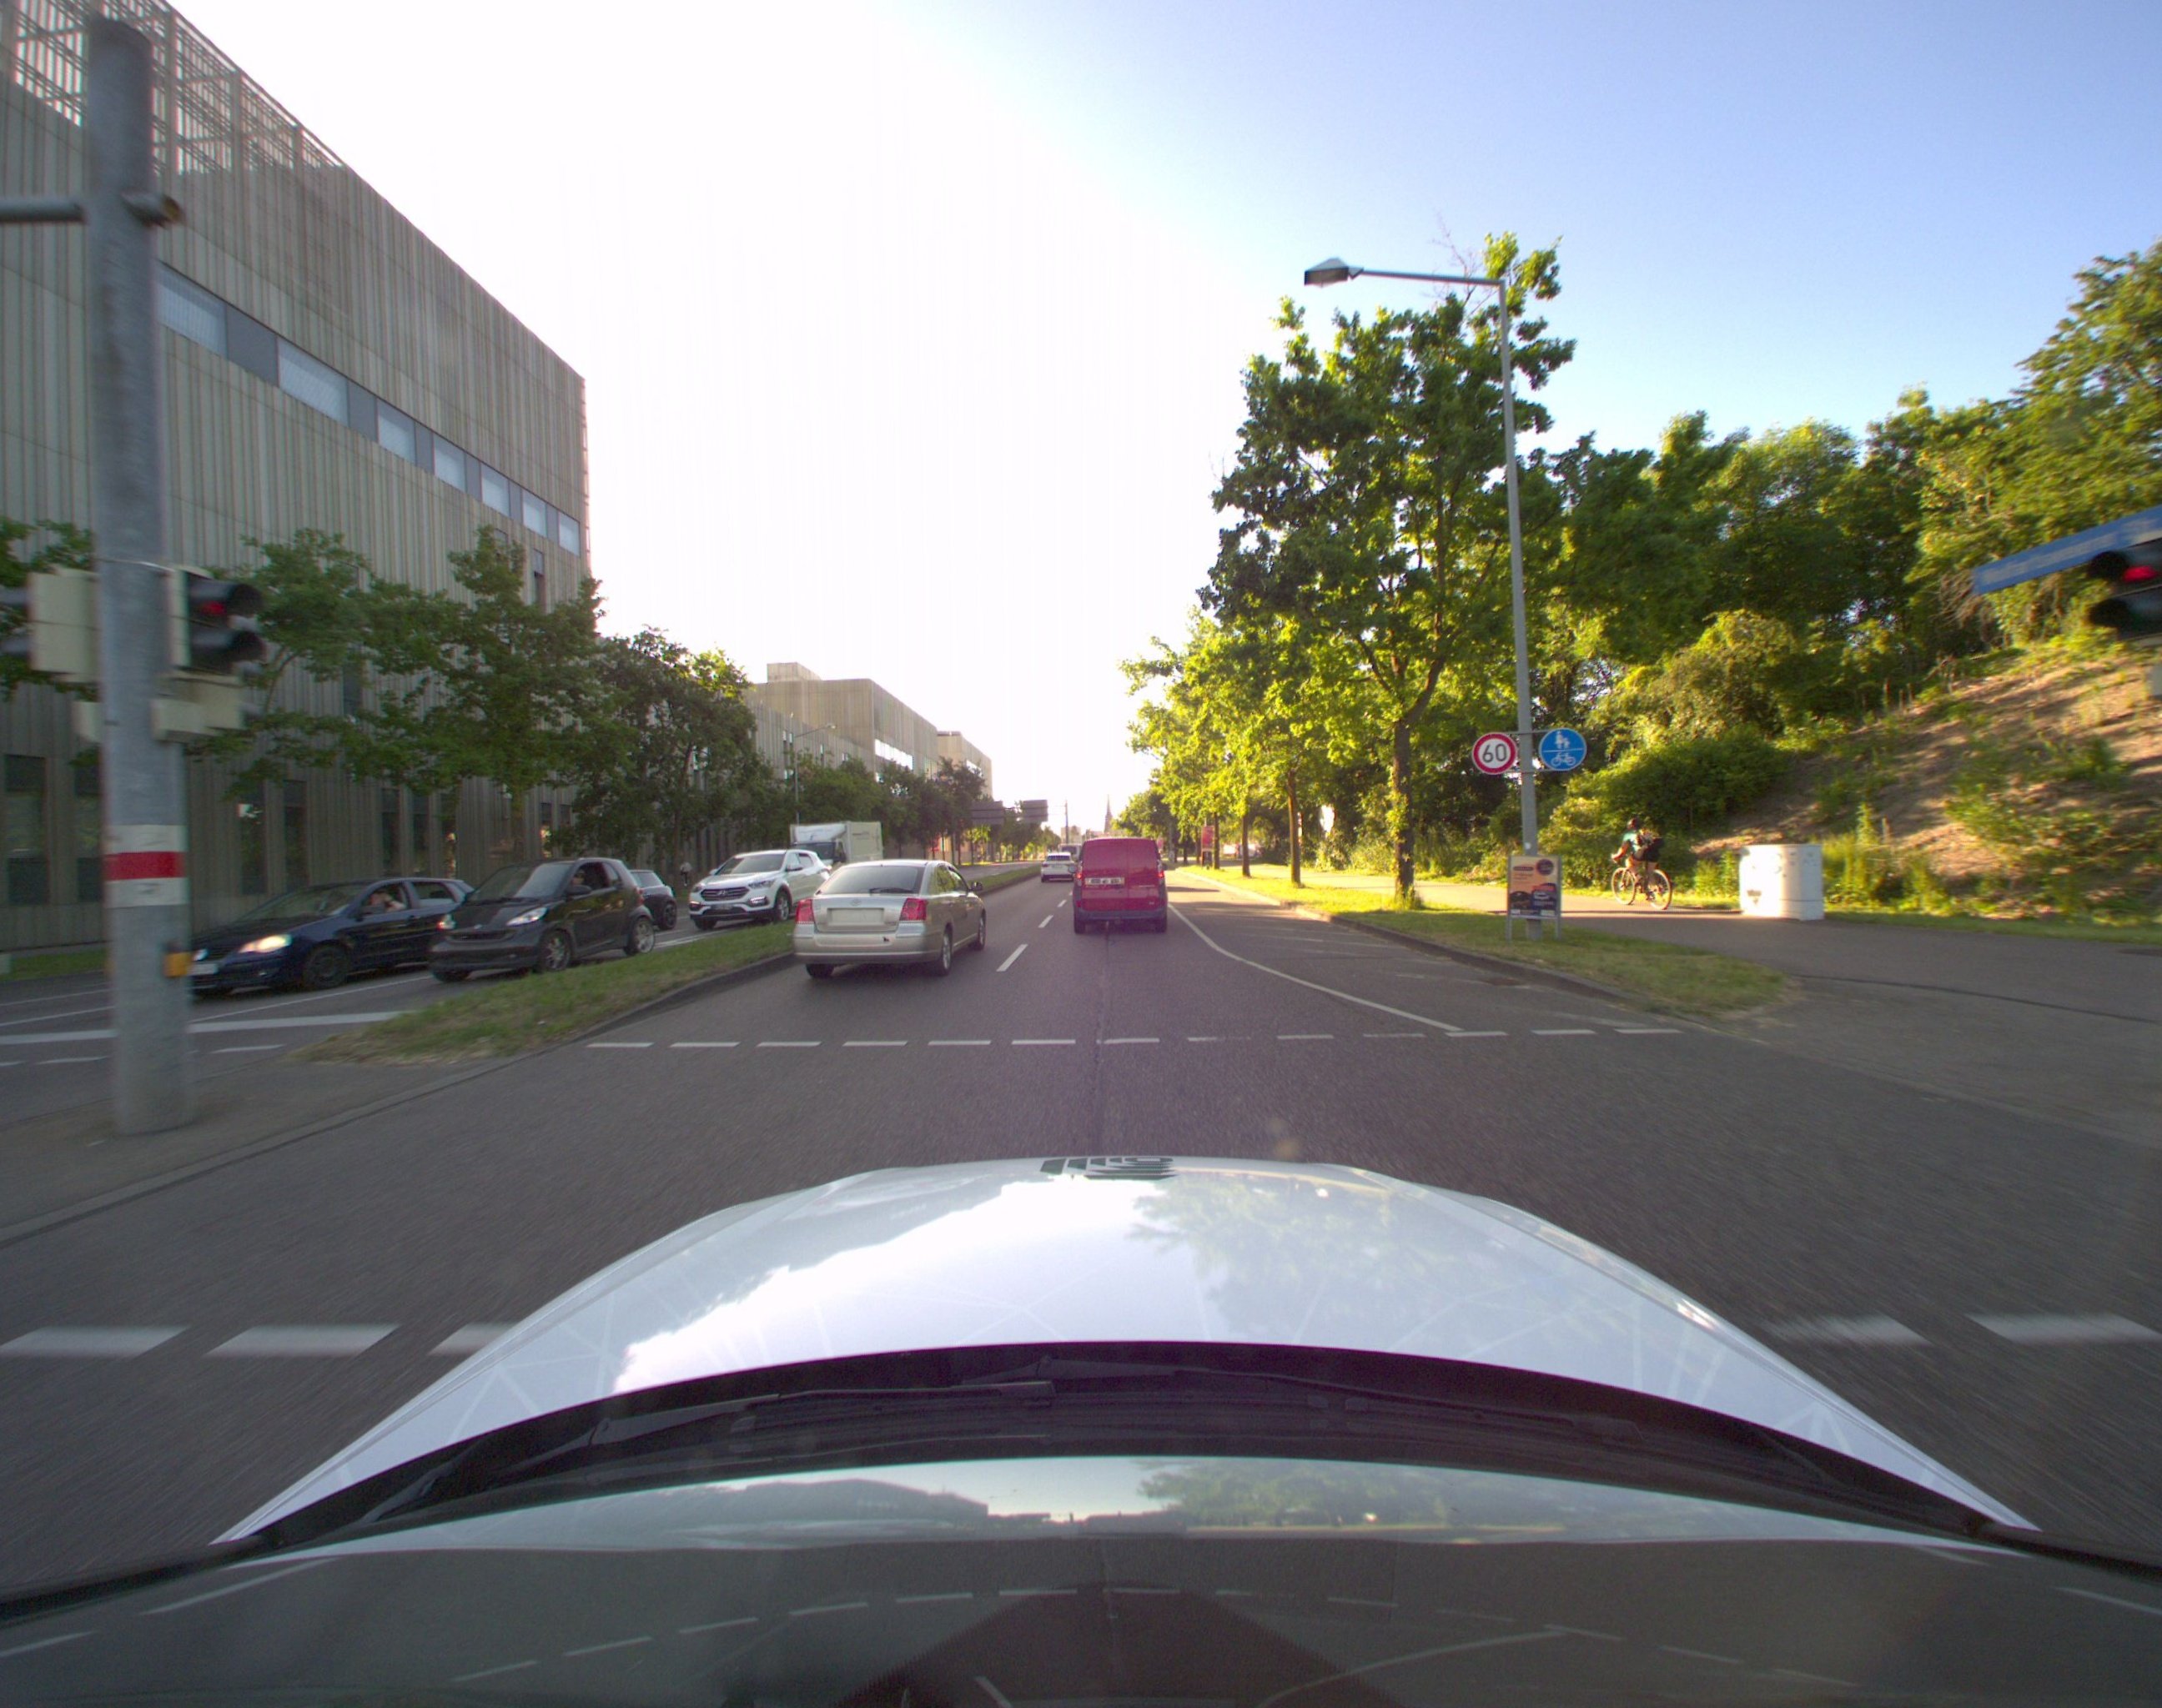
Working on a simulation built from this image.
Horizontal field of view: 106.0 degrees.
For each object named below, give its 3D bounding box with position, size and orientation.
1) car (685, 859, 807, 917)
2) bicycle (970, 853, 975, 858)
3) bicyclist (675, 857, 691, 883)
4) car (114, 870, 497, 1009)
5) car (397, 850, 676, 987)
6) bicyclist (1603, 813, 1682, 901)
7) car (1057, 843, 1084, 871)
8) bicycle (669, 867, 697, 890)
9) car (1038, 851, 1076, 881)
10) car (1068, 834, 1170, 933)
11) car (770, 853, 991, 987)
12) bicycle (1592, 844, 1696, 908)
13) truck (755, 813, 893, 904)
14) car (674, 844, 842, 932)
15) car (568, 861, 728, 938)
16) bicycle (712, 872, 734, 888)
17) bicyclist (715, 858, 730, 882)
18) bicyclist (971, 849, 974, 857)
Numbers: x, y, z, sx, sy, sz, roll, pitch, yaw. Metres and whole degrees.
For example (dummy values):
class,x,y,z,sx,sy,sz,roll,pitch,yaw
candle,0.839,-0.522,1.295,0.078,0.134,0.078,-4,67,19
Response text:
class,x,y,z,sx,sy,sz,roll,pitch,yaw
car,-10.012,0.962,24.693,1.828,1.424,4.002,-3,1,2
bicycle,-19.896,0.247,149.662,0.485,1.003,2.096,-2,0,1
bicyclist,-23.724,0.937,48.551,0.505,1.507,0.645,-2,0,1
car,-10.548,1.054,11.540,1.697,1.441,3.754,-3,1,1
car,-7.469,0.783,11.570,1.595,1.580,3.215,-3,0,3
bicyclist,10.220,0.045,14.859,0.683,1.522,1.035,-2,0,-1
car,-0.701,0.201,56.278,1.655,1.856,3.560,-2,0,2
bicycle,-23.698,1.444,48.530,0.510,1.270,2.100,-2,0,1
car,-1.156,0.569,41.083,1.655,1.398,3.560,-2,0,2
car,0.744,0.521,16.608,1.799,1.759,4.007,-1,0,2
car,-2.476,0.741,11.215,1.834,1.456,4.165,-1,0,2
bicycle,10.260,0.380,14.934,0.514,1.072,1.935,-2,0,-1
truck,-9.785,0.139,31.995,2.675,2.960,7.119,-4,0,3
car,-7.319,0.693,19.048,1.817,1.682,4.661,-4,0,2
car,-10.075,0.990,19.273,1.614,1.469,3.642,-4,0,3
bicycle,-22.317,1.608,50.785,0.510,0.890,1.755,-2,0,1
bicyclist,-22.338,1.007,50.784,0.505,1.442,0.753,-2,0,1
bicyclist,-19.912,-0.155,149.596,0.480,1.395,0.844,-2,-1,1
